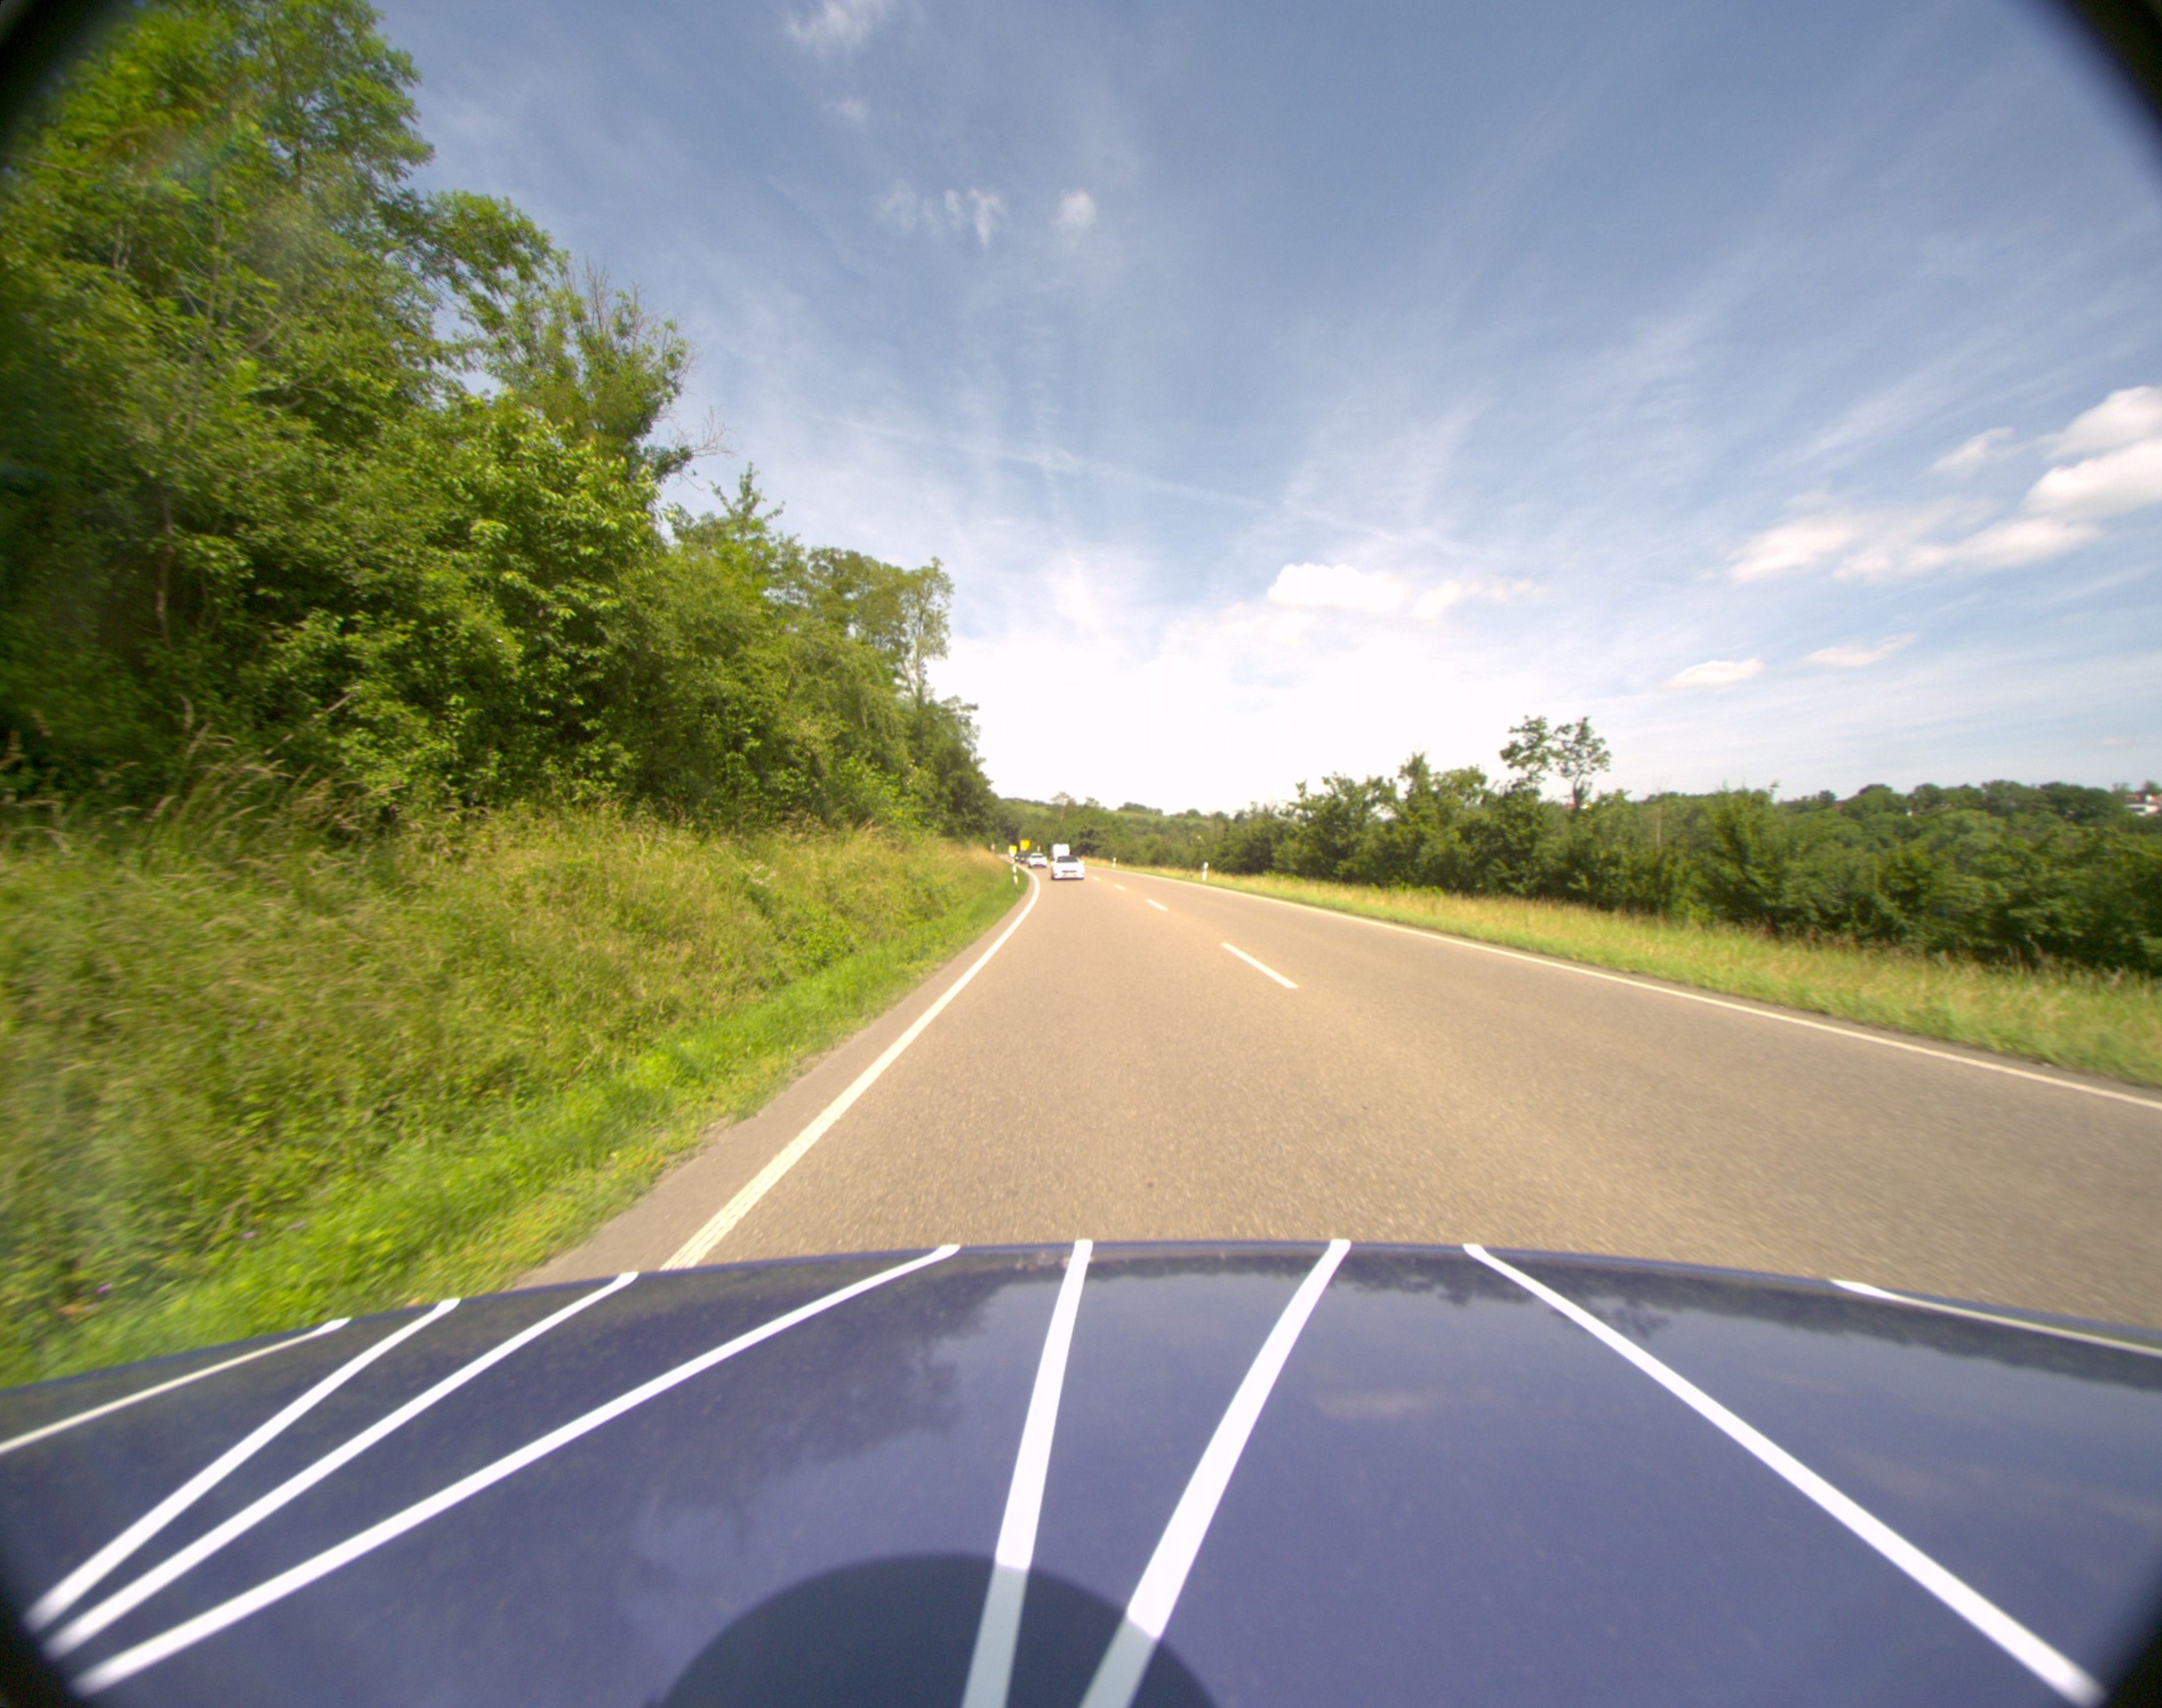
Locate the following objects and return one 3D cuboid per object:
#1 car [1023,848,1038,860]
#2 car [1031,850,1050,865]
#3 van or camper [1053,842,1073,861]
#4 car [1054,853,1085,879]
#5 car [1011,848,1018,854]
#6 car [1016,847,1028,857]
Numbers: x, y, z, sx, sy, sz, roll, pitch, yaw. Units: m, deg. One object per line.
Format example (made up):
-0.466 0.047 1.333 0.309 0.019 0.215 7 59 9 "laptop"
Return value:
-7.063 -0.015 105.479 1.825 1.510 3.997 2 0 -6 "car"
-4.338 0.362 80.458 1.867 1.480 3.998 -2 1 -5 "car"
-2.417 -0.366 101.520 2.215 2.513 6.129 -1 1 -6 "van or camper"
-0.718 0.673 45.628 1.773 1.437 3.999 -2 0 -2 "car"
-22.443 -0.945 255.081 1.843 1.834 4.220 2 0 -10 "car"
-9.660 -0.325 123.740 1.667 1.641 3.997 2 0 -8 "car"
